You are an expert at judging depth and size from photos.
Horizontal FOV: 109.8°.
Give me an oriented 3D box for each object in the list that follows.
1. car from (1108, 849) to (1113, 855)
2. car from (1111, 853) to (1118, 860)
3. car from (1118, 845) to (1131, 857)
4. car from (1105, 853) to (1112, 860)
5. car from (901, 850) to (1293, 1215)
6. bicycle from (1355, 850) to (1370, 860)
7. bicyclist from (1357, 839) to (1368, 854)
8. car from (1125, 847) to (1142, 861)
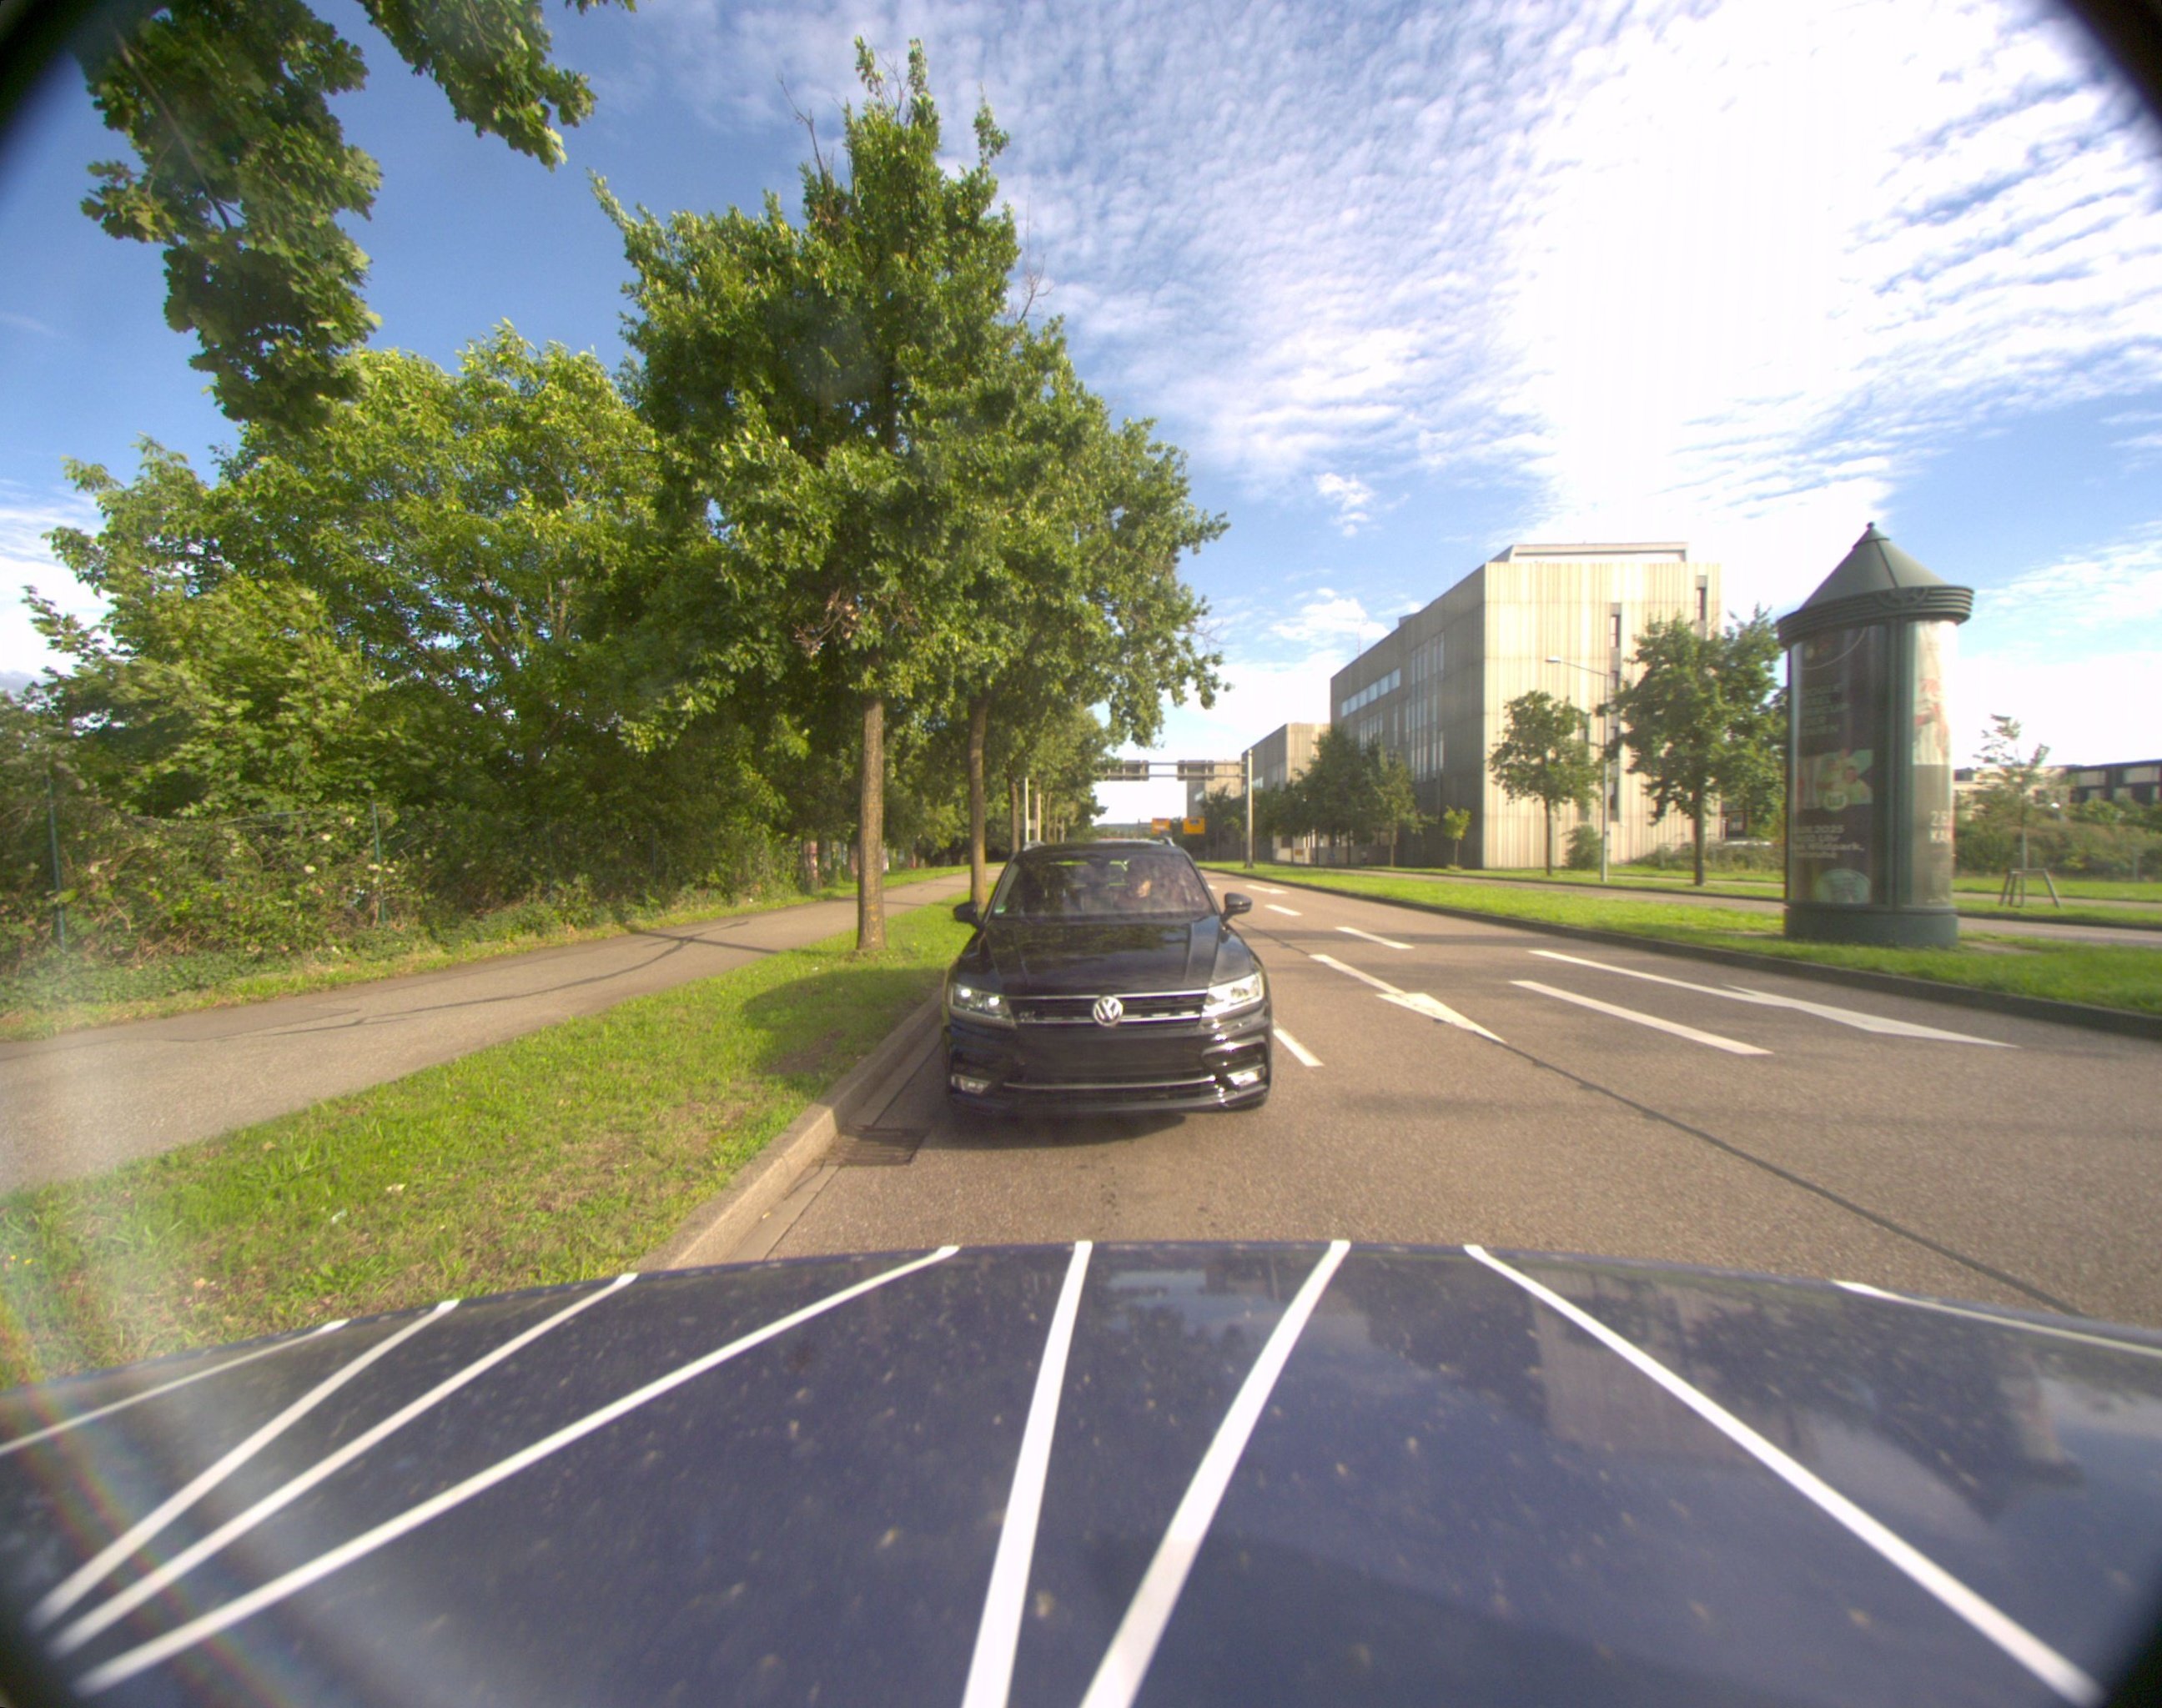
[{"bbox_3d":[9.961,-0.802,256.048,1.715,2.002,4.000,0,0,0],"label":"car"},{"bbox_3d":[10.153,0.695,229.589,1.998,2.002,4.000,0,0,0],"label":"car"},{"bbox_3d":[6.570,-0.482,115.831,1.758,1.696,4.000,-1,0,0],"label":"car"},{"bbox_3d":[7.940,0.772,221.136,1.998,2.002,4.000,0,0,0],"label":"car"},{"bbox_3d":[0.127,0.829,5.467,1.775,1.637,3.868,-2,1,2],"label":"car"},{"bbox_3d":[28.847,0.091,77.851,0.897,0.975,1.911,1,0,1],"label":"bicycle"},{"bbox_3d":[28.834,-0.731,77.765,0.707,1.517,0.989,0,1,1],"label":"bicyclist"},{"bbox_3d":[5.764,0.004,83.552,1.745,1.455,4.000,-1,1,3],"label":"car"}]
